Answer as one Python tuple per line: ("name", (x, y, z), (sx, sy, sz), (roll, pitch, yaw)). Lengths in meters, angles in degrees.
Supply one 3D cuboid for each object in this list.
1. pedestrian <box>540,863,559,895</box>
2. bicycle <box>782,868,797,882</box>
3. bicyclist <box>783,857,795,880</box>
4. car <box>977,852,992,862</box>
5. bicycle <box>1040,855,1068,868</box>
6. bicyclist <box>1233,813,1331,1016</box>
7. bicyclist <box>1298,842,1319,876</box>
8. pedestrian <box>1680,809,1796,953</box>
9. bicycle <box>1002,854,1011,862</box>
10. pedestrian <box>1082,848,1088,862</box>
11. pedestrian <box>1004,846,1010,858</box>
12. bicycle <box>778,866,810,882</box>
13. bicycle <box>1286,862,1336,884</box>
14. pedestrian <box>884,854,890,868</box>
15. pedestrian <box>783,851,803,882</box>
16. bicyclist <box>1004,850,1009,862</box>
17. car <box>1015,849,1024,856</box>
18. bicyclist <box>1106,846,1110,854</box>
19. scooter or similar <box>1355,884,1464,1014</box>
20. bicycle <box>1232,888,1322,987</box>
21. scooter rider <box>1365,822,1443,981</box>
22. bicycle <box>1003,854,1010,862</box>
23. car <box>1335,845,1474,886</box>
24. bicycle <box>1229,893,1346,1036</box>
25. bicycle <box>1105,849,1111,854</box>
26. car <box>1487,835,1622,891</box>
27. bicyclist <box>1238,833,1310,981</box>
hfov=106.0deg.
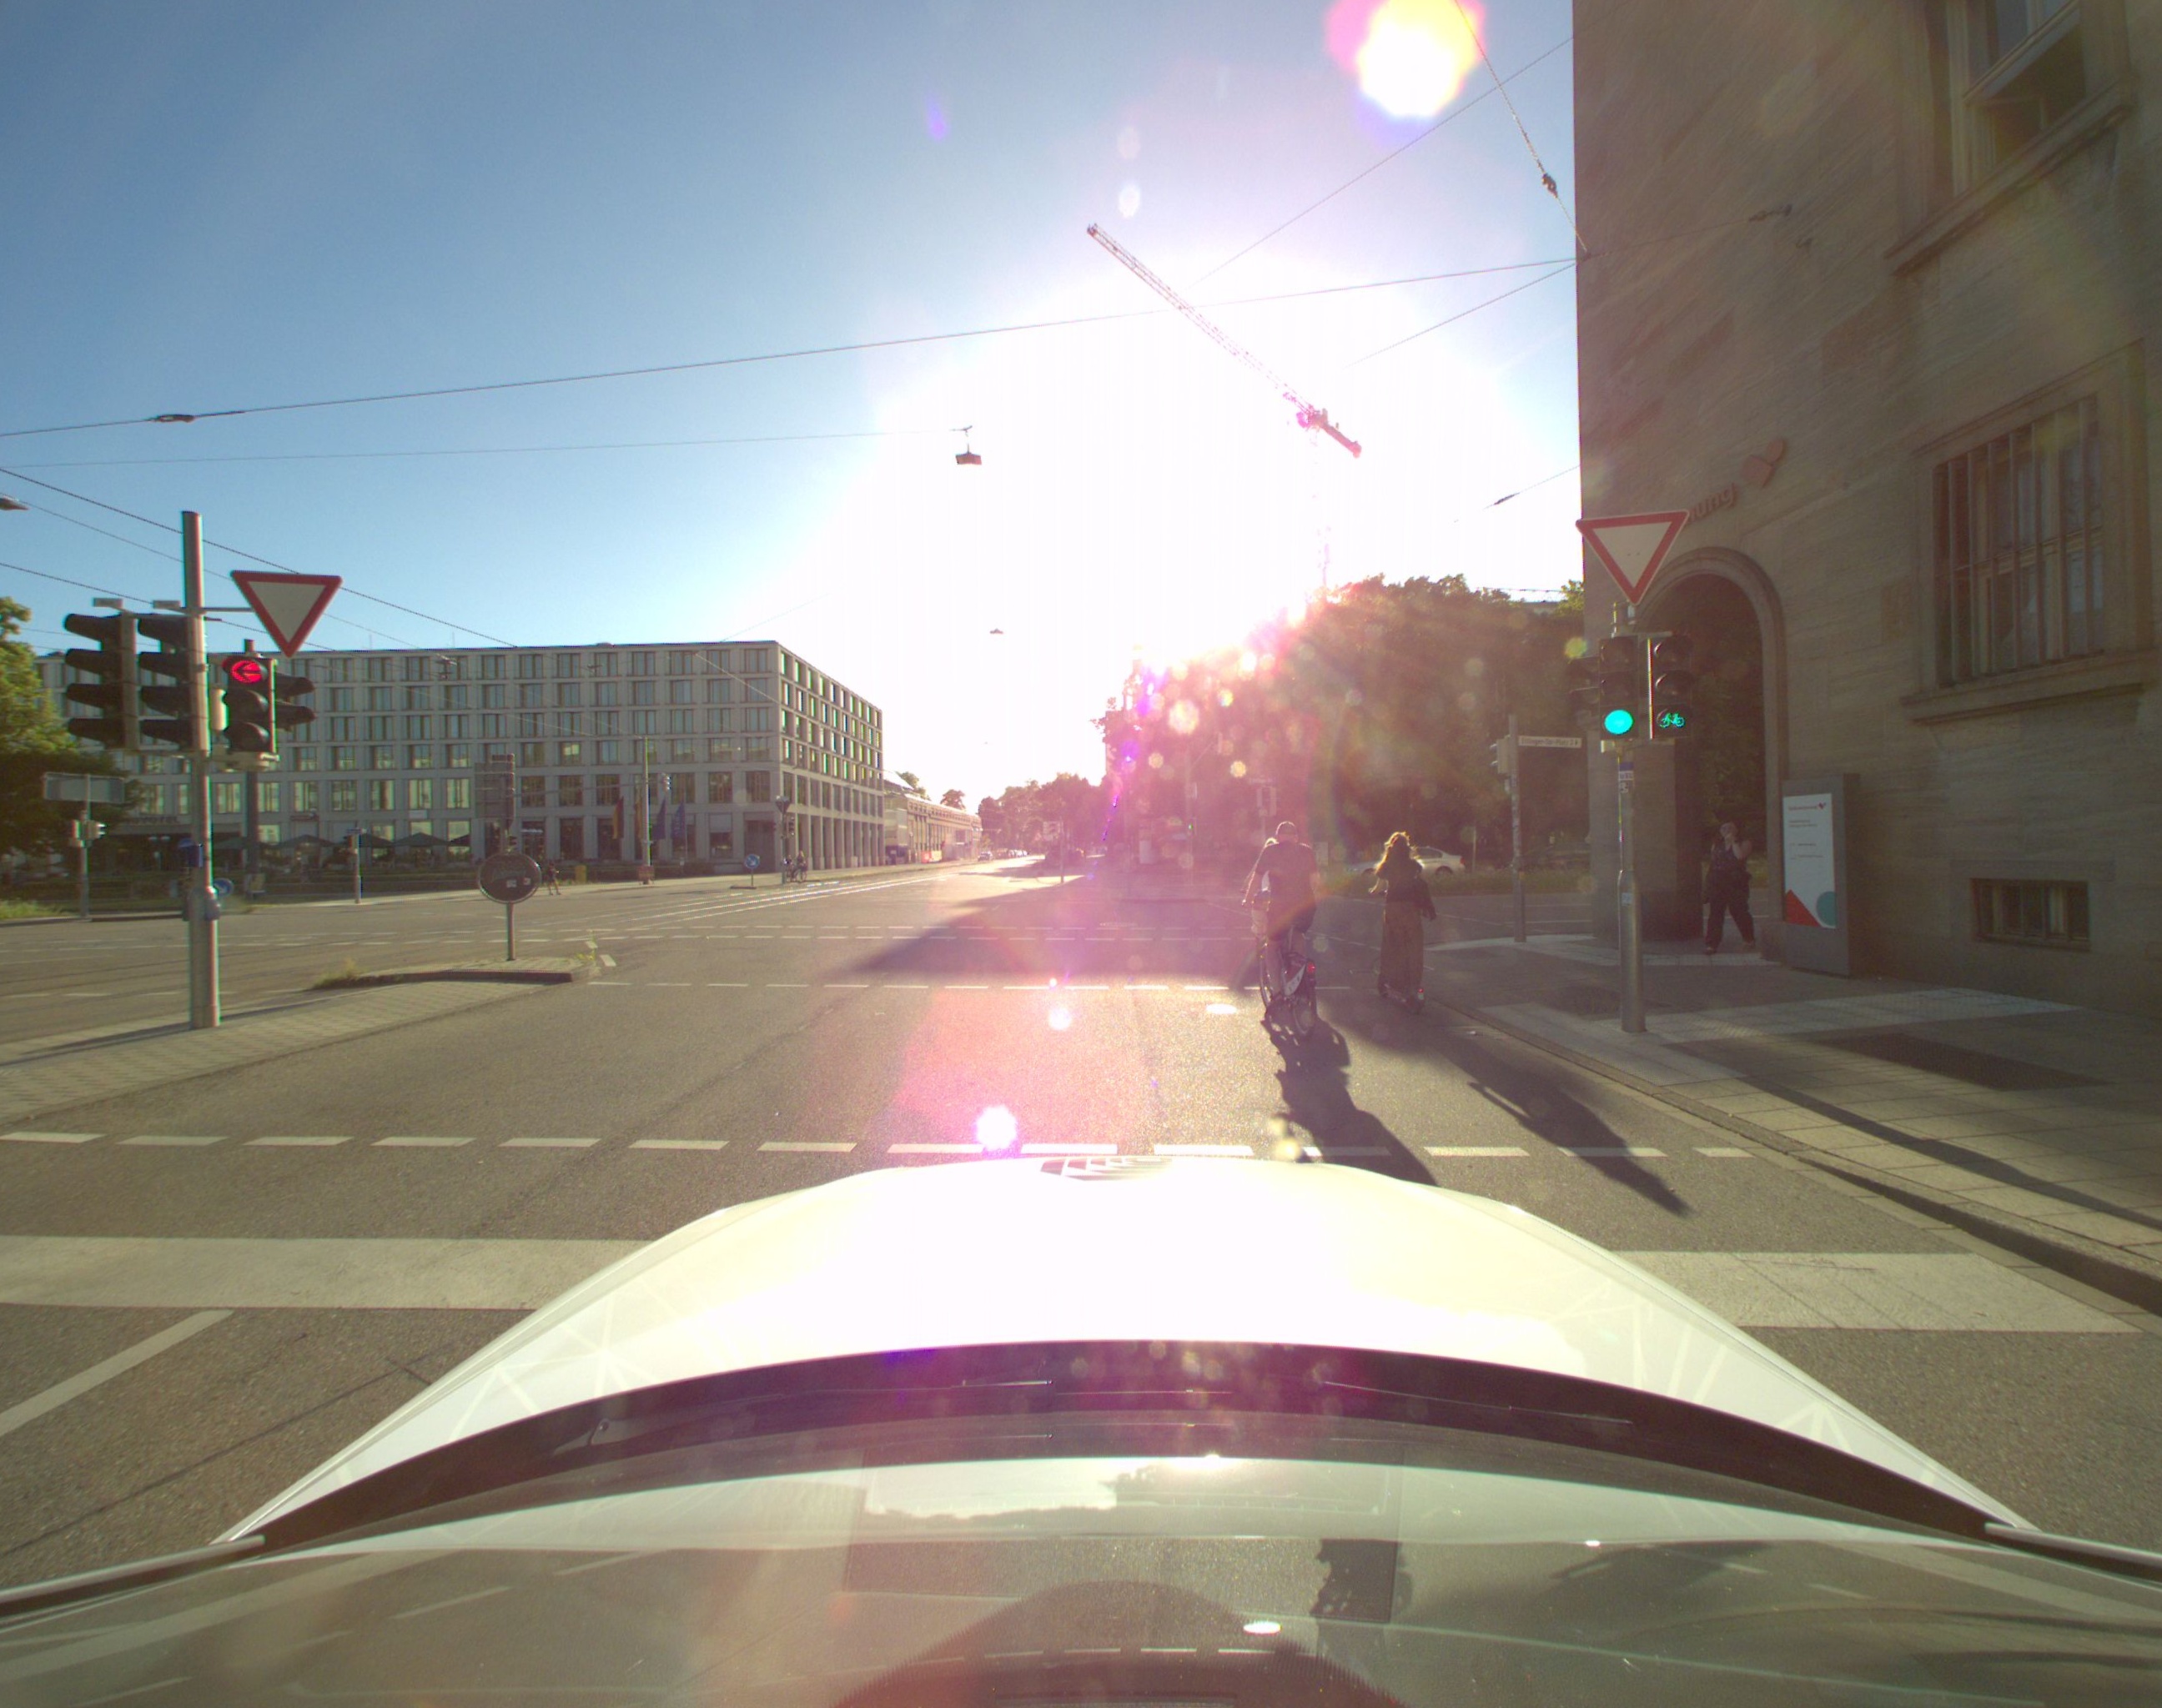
("pedestrian", (-28.284, 1.312, 43.325), (0.598, 1.681, 0.610), (-2, 0, 32))
("bicycle", (-19.244, 1.377, 53.794), (0.492, 0.839, 1.158), (-2, 0, 4))
("bicyclist", (-19.264, 0.926, 53.779), (0.492, 1.498, 0.667), (-2, 0, 4))
("car", (-15.955, 0.439, 134.305), (1.988, 1.599, 3.998), (-2, 0, -1))
("bicycle", (-2.185, 0.605, 65.391), (2.240, 0.940, 0.653), (-2, 0, -4))
("bicyclist", (1.804, 0.511, 7.407), (0.621, 1.715, 0.912), (-1, 0, -1))
("bicyclist", (9.561, 0.220, 34.266), (0.742, 1.406, 0.704), (0, -1, 8))
("pedestrian", (7.831, 0.309, 9.745), (0.594, 1.607, 0.813), (-5, -1, 1))
("bicycle", (-12.076, 0.639, 132.399), (0.746, 1.205, 3.114), (0, 0, 7))
("pedestrian", (0.473, 0.105, 95.711), (0.576, 1.689, 0.584), (-2, 0, -6))
("pedestrian", (-12.075, -0.321, 132.476), (0.746, 2.063, 1.052), (0, -1, 7))
("bicycle", (-15.009, 1.039, 42.518), (1.696, 0.823, 0.577), (-1, 0, 29))
("bicycle", (9.651, 0.783, 34.254), (1.932, 0.889, 0.719), (-1, -1, 8))
("pedestrian", (-27.368, 0.966, 115.000), (0.583, 1.889, 0.480), (0, -1, 15))
("pedestrian", (-15.031, 0.649, 42.529), (0.735, 1.595, 0.577), (-2, 0, 29))
("bicyclist", (-12.719, 0.318, 138.873), (0.748, 1.920, 1.214), (0, -1, 1))
("car", (-14.606, -0.433, 193.284), (1.988, 1.644, 3.998), (-1, 0, -1))
("bicyclist", (6.524, -0.949, 198.468), (0.891, 2.014, 0.746), (0, -1, -10))
("scooter or similar", (3.263, 0.902, 8.184), (0.571, 1.149, 1.271), (0, 0, -1))
("bicycle", (2.399, 0.991, 10.166), (0.581, 1.044, 1.744), (-1, 0, -4))
("scooter rider", (3.288, 0.473, 8.330), (0.543, 1.562, 0.577), (-1, -1, 0))
("bicycle", (-12.717, 0.679, 138.763), (0.748, 1.205, 3.108), (0, 0, 1))
("car", (12.377, 0.435, 31.386), (4.559, 1.516, 2.001), (0, -1, 1))
("bicycle", (1.814, 0.932, 7.412), (0.621, 1.044, 1.747), (-1, 0, 1))
("bicycle", (6.514, -0.556, 198.561), (0.890, 1.219, 2.784), (0, 0, -9))
("car", (17.825, 0.340, 30.831), (3.970, 2.014, 2.002), (0, -1, 3))
("bicyclist", (2.385, 0.623, 10.140), (0.582, 1.738, 0.949), (-1, 0, -4))
